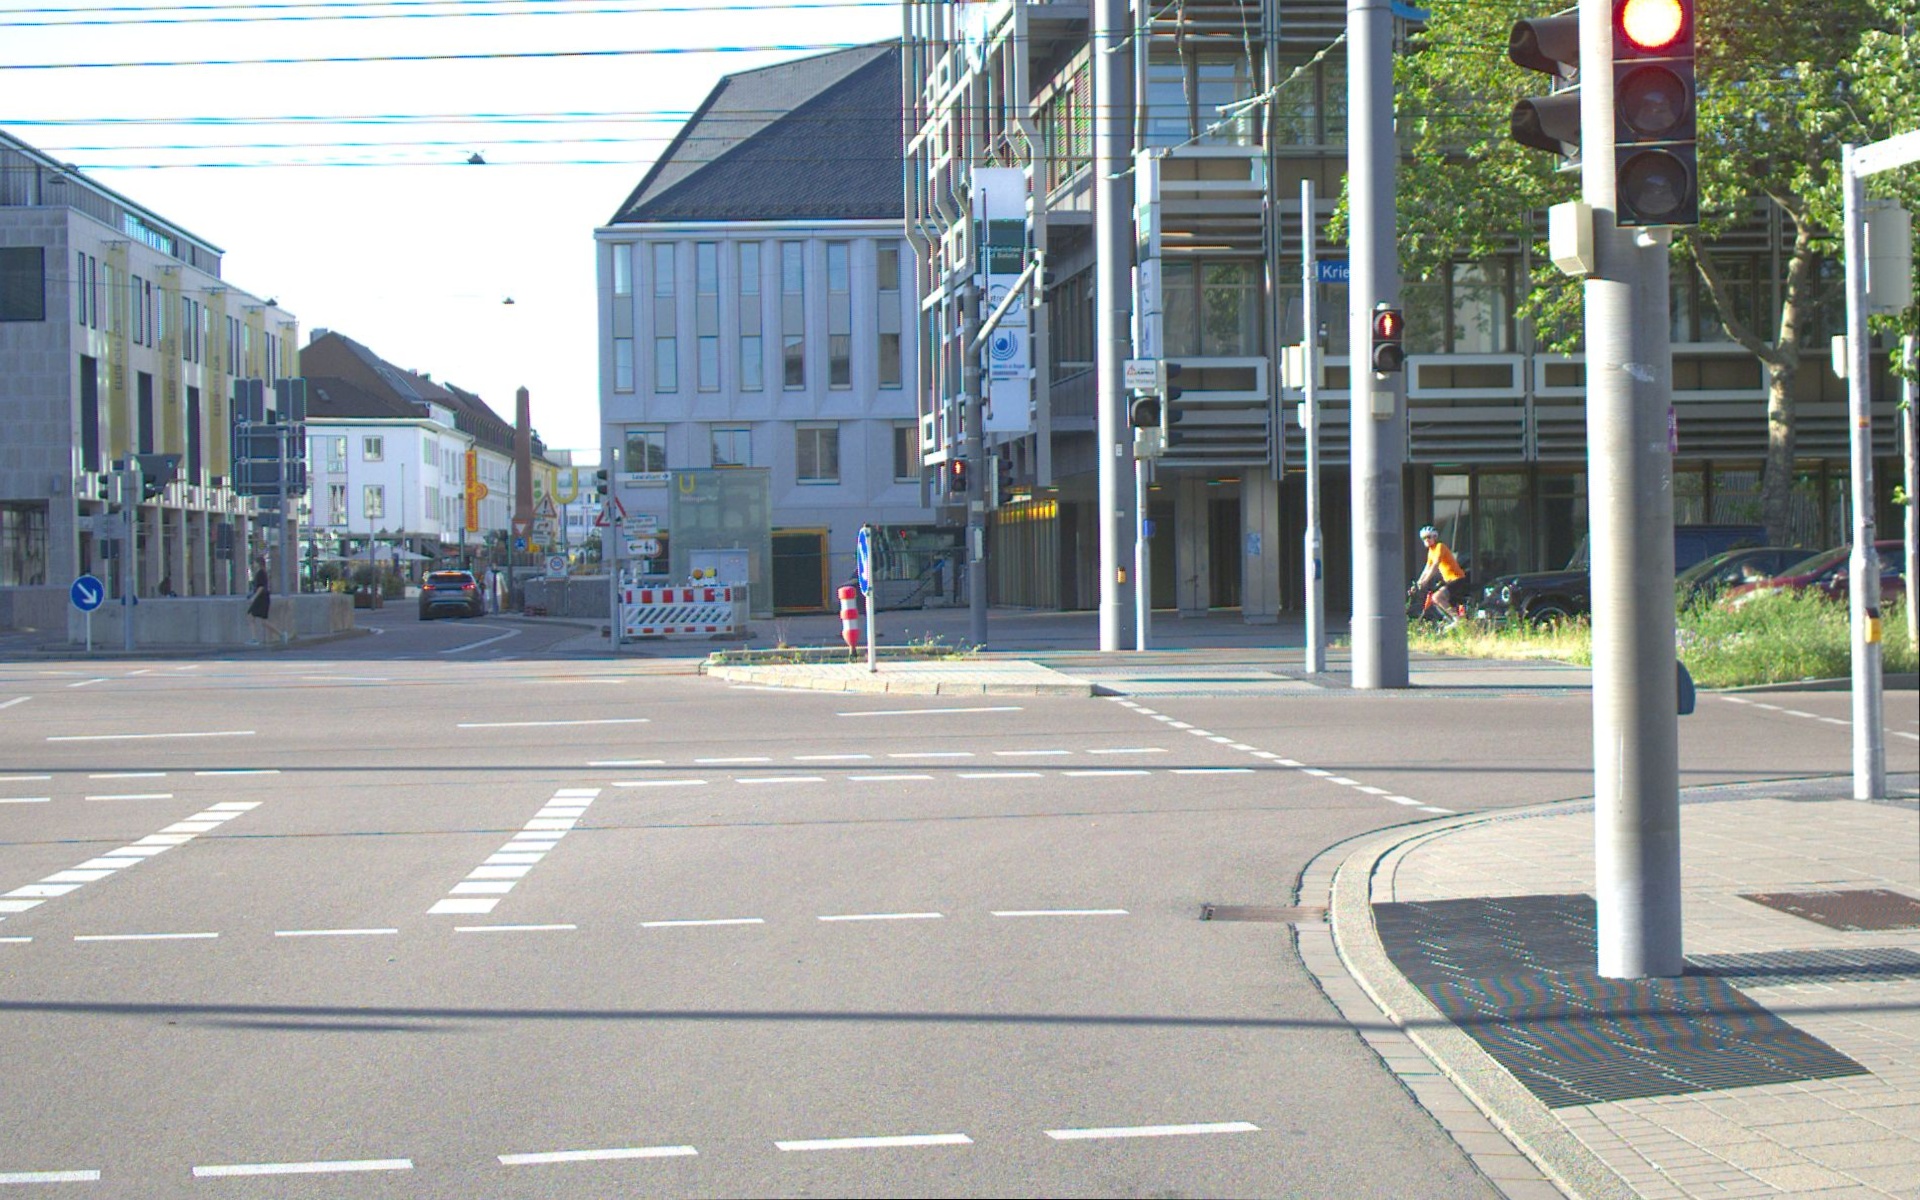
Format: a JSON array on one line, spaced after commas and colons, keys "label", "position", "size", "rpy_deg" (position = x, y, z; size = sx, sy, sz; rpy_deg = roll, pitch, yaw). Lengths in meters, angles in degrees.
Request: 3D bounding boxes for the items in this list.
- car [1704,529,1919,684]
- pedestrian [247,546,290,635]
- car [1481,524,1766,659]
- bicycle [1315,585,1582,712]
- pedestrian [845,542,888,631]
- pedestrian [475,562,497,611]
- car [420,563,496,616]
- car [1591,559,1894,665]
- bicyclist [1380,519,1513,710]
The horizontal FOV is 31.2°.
[{"label": "car", "position": [12.287, 0.090, 46.409], "size": [3.986, 2.007, 2.000], "rpy_deg": [1, 0, -3]}, {"label": "pedestrian", "position": [-12.928, -0.189, 64.309], "size": [0.663, 1.652, 0.755], "rpy_deg": [-1, 1, -3]}, {"label": "car", "position": [10.345, -0.140, 53.777], "size": [3.986, 2.007, 2.000], "rpy_deg": [1, 0, -3]}, {"label": "bicycle", "position": [6.693, 0.651, 47.146], "size": [3.490, 1.653, 0.932], "rpy_deg": [-1, 1, -9]}, {"label": "pedestrian", "position": [-1.759, -0.259, 64.767], "size": [0.729, 1.652, 0.651], "rpy_deg": [-1, 1, -7]}, {"label": "pedestrian", "position": [-13.920, -0.393, 100.943], "size": [0.609, 1.406, 0.570], "rpy_deg": [-1, 1, -6]}, {"label": "car", "position": [-15.806, -0.347, 108.423], "size": [2.199, 1.601, 4.327], "rpy_deg": [-1, 1, -6]}, {"label": "car", "position": [11.493, 0.161, 50.661], "size": [3.986, 1.503, 1.868], "rpy_deg": [0, 1, -3]}, {"label": "bicyclist", "position": [6.661, 0.192, 47.140], "size": [1.567, 2.571, 0.932], "rpy_deg": [-1, 1, -9]}]
